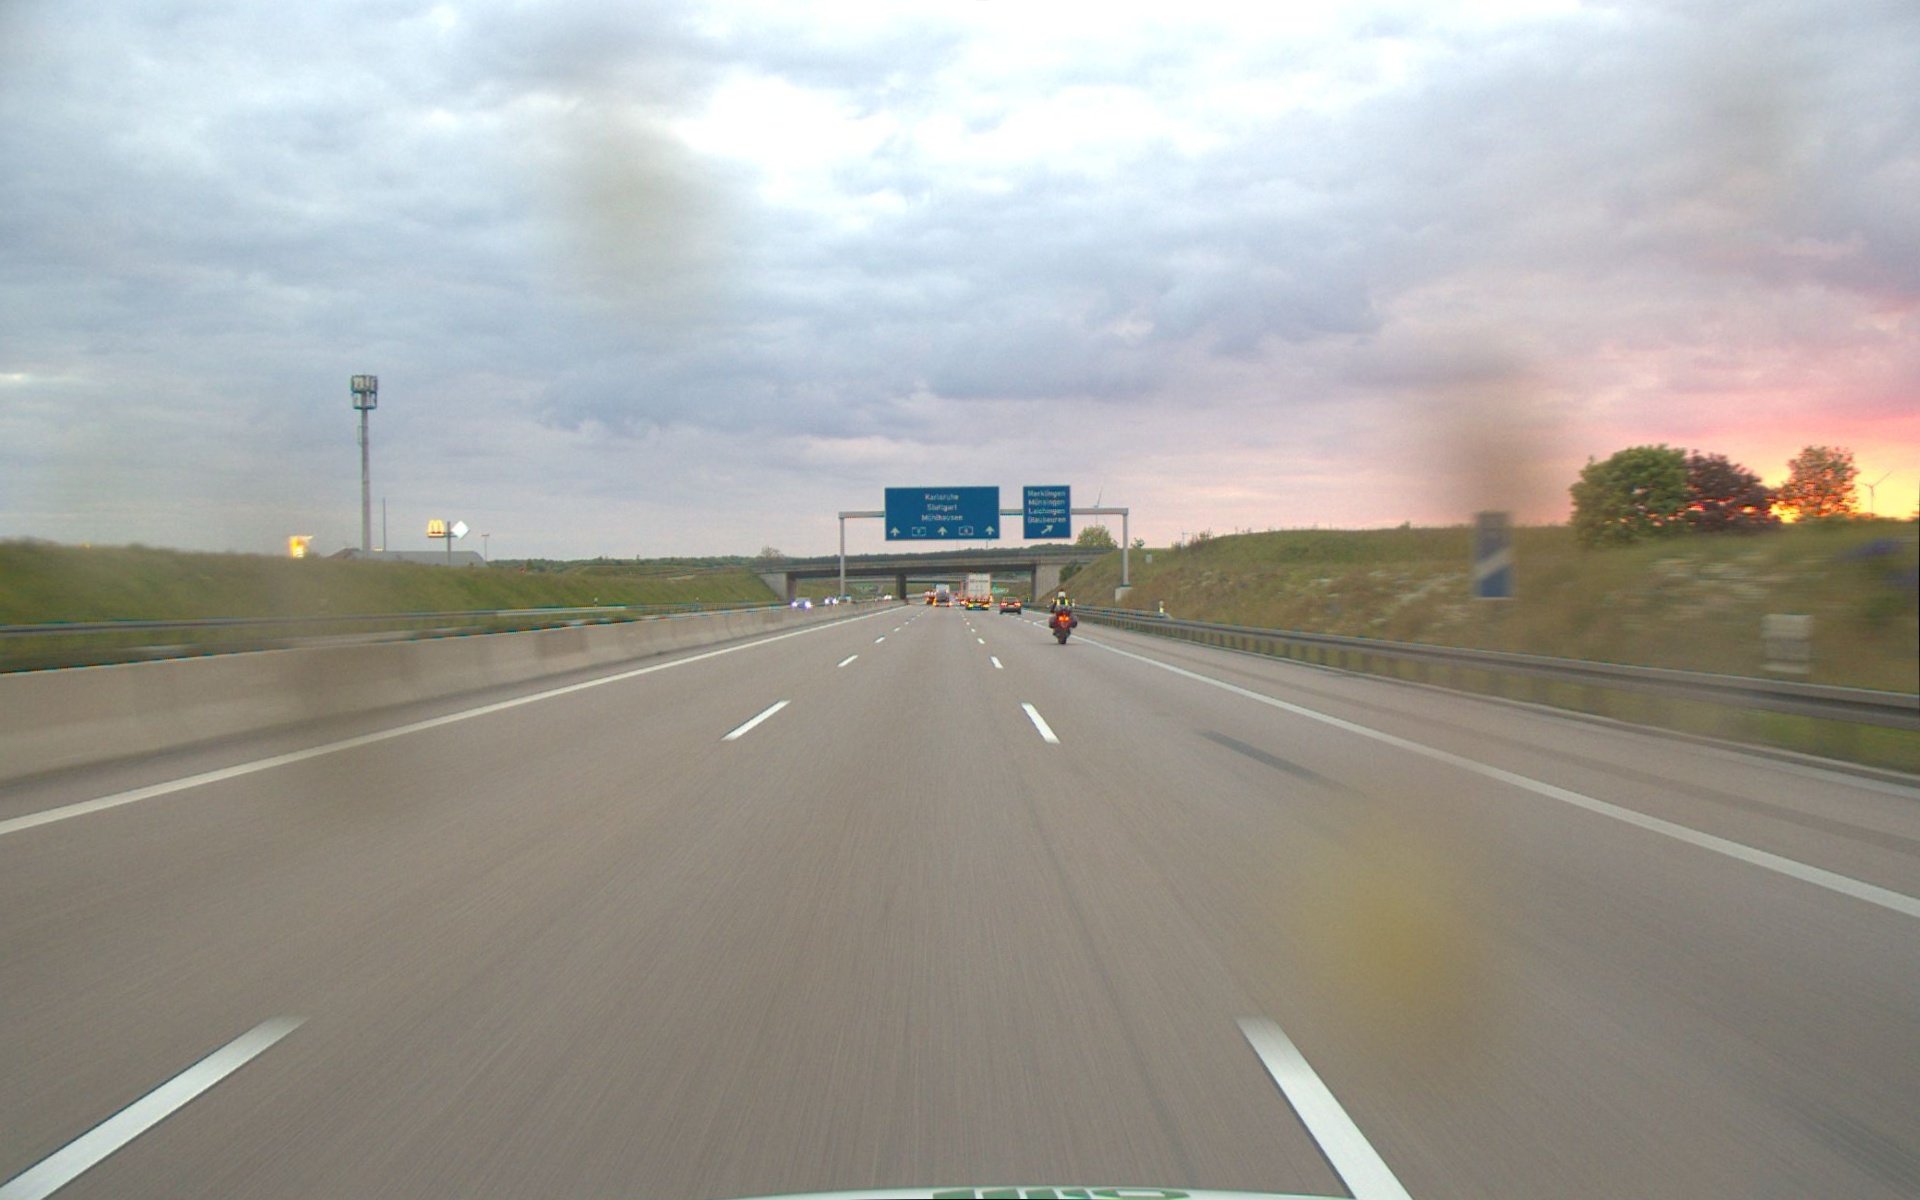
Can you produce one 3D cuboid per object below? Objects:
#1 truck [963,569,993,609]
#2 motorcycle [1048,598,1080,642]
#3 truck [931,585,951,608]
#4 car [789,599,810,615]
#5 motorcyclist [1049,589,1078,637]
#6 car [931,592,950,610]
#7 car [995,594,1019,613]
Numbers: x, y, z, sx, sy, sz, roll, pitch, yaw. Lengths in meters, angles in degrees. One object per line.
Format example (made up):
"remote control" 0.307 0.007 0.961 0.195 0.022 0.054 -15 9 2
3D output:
"truck" 2.006 -1.289 186.381 3.167 4.301 9.598 1 1 0
"motorcycle" 3.378 0.646 53.935 0.883 1.370 2.349 0 1 0
"truck" -2.860 -0.578 247.450 2.892 3.273 8.404 1 1 -1
"car" -17.114 0.712 176.168 1.962 1.615 4.571 0 0 -2
"motorcyclist" 3.352 0.412 53.656 0.848 1.513 1.168 1 0 0
"car" -2.757 0.090 231.391 2.465 2.433 6.494 0 0 -1
"car" 4.107 0.323 145.307 1.879 1.607 3.999 0 0 -1
